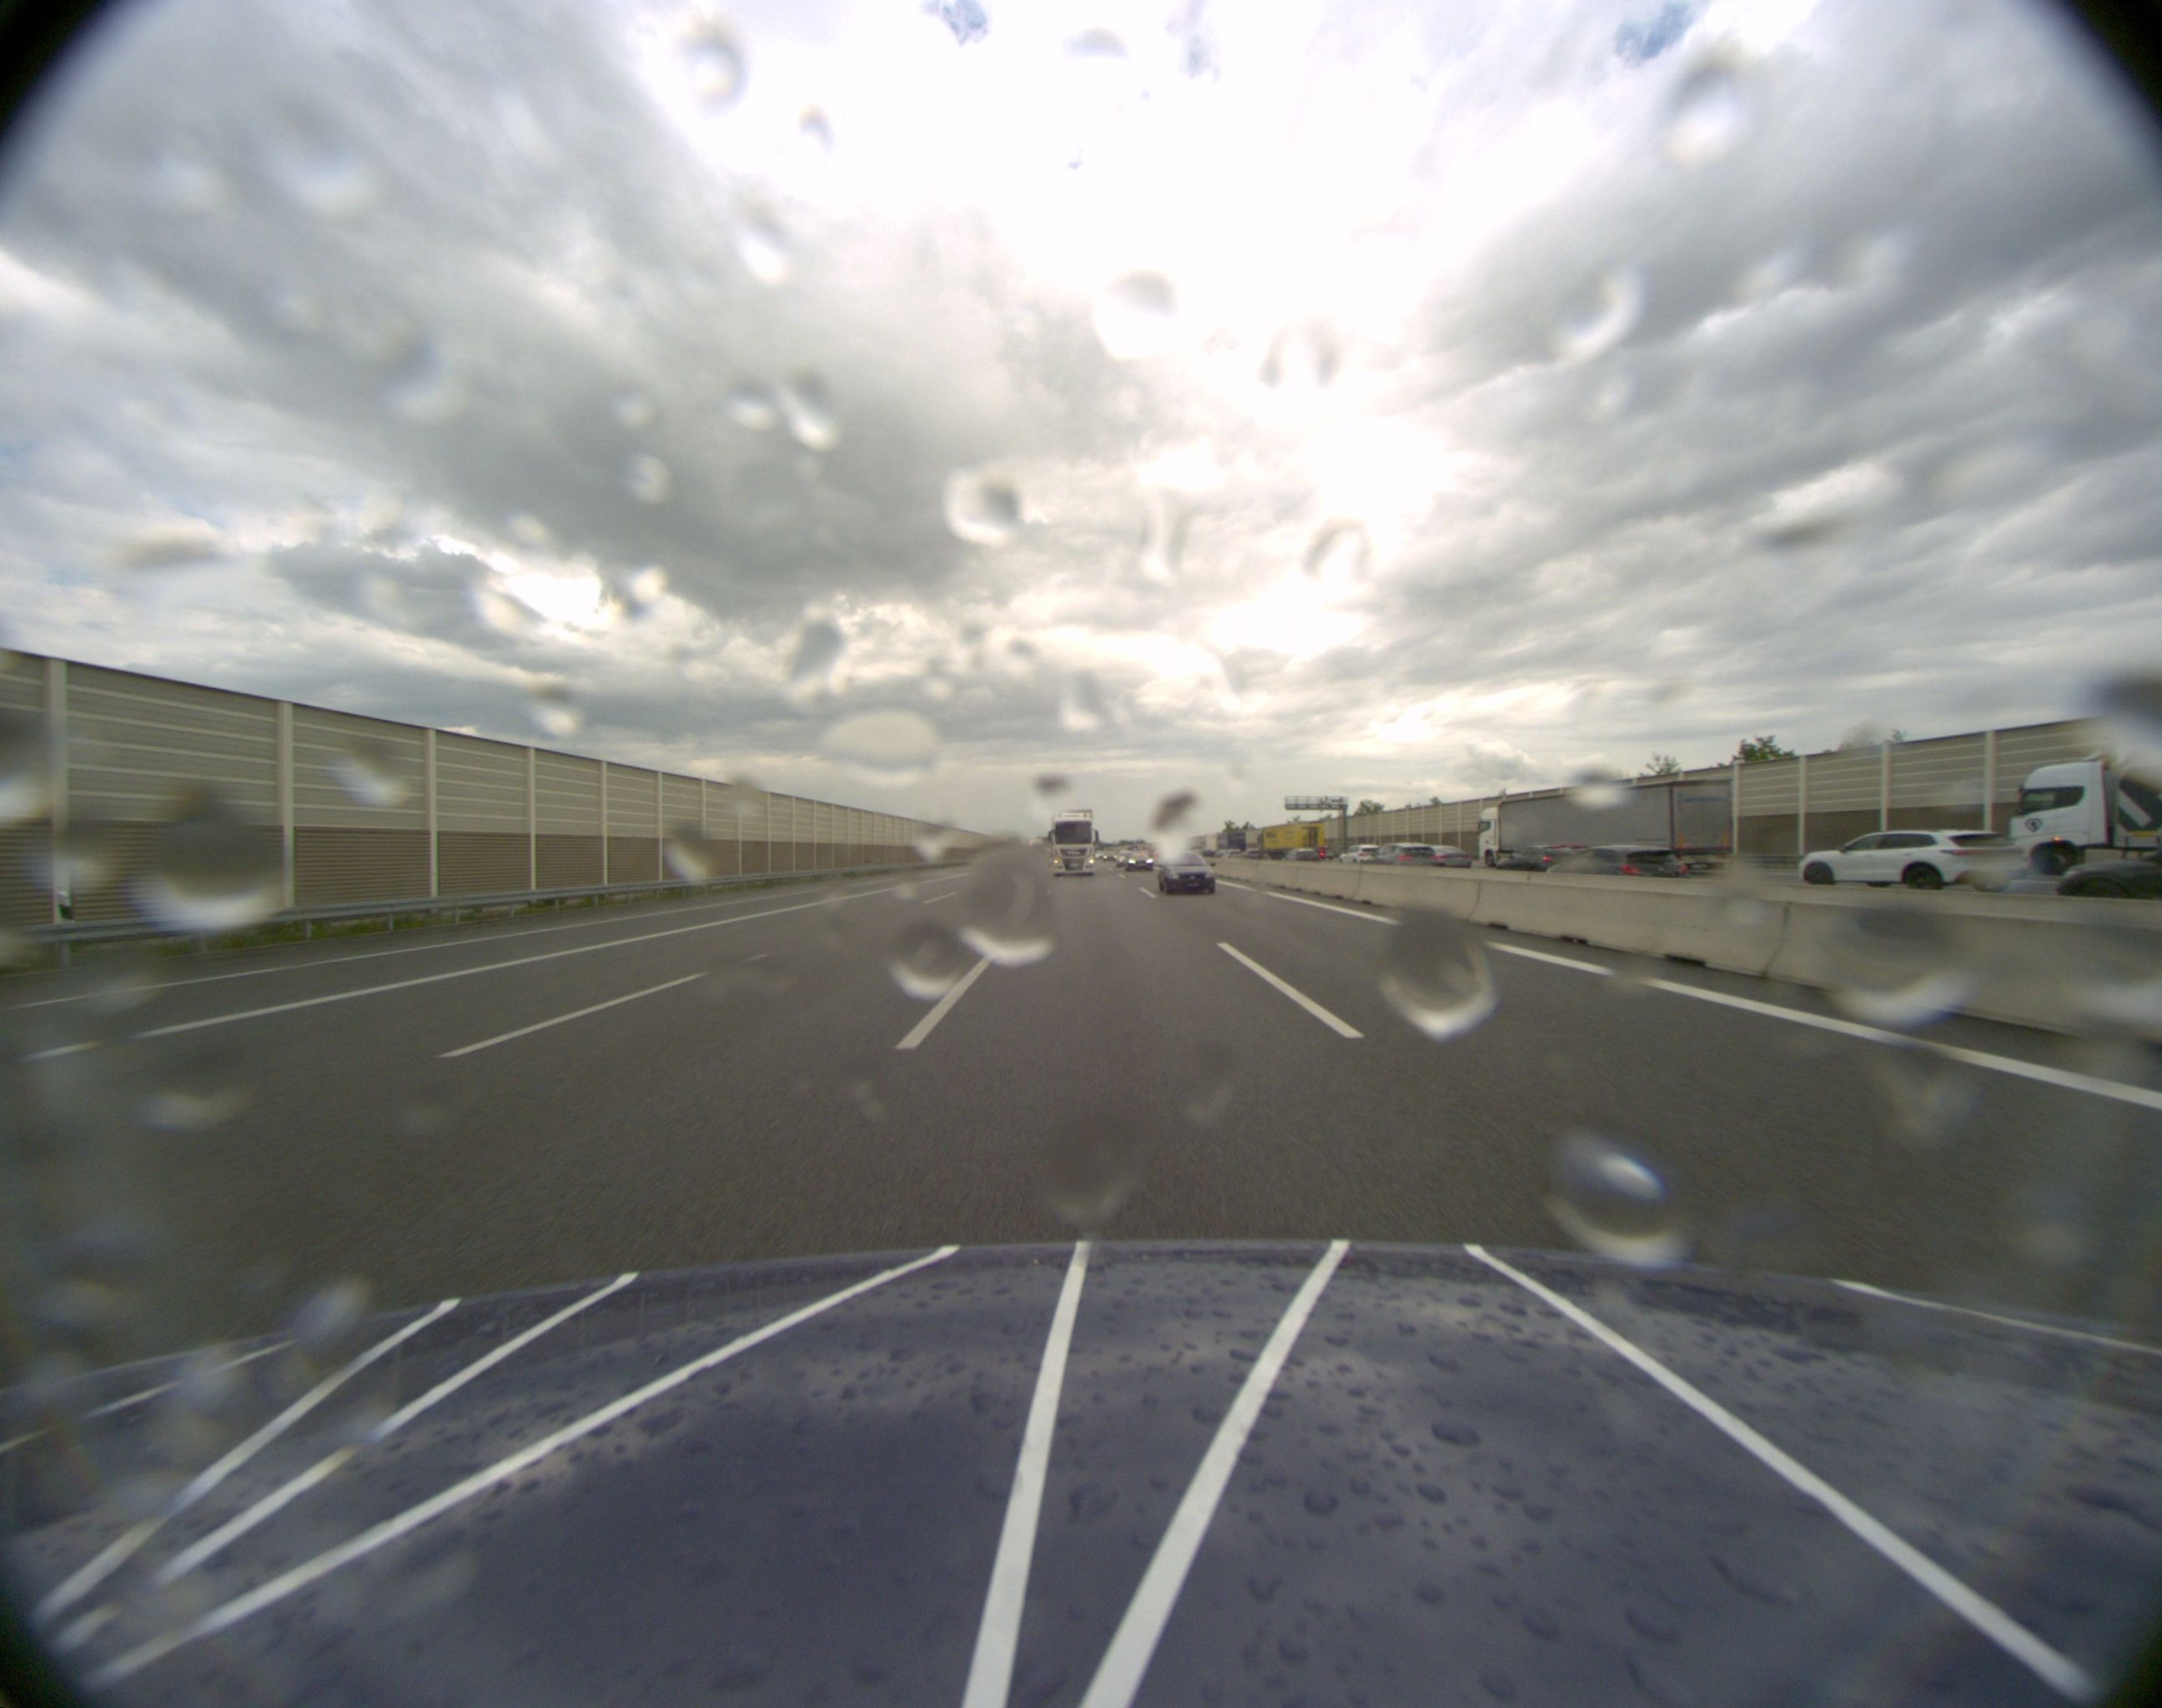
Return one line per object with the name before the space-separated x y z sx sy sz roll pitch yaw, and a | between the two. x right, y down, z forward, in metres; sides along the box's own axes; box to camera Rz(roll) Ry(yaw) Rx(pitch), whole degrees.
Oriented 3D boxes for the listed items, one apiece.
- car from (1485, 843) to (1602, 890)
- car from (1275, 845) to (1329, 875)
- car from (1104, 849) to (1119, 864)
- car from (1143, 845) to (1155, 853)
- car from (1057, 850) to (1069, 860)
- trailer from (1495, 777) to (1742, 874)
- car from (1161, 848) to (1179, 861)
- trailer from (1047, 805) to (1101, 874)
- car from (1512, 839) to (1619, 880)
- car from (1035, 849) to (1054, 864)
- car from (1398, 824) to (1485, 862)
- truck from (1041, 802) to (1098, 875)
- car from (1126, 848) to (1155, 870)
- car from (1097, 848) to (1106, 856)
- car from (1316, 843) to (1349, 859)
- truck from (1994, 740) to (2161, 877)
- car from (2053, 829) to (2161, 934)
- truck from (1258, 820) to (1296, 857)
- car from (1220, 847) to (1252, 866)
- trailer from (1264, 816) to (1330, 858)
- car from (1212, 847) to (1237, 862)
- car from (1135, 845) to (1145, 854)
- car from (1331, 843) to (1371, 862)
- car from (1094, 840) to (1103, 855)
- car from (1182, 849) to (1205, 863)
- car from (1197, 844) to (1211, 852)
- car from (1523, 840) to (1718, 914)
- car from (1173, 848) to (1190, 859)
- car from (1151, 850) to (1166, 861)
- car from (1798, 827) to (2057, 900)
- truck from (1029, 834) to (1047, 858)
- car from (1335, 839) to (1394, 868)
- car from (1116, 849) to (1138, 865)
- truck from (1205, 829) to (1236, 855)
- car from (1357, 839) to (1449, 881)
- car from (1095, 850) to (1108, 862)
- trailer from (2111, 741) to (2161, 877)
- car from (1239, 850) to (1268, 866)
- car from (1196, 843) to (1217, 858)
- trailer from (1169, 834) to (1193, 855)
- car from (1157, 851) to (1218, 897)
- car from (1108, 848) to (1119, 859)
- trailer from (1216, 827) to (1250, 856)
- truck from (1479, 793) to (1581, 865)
car | 18.412 0.454 30.509 1.960 1.690 4.410 -1 0 -1
car | 14.549 0.377 50.236 2.066 1.805 4.777 -1 0 -1
car | 3.180 0.241 79.990 1.498 1.395 4.000 -1 1 1
car | 13.749 -1.081 153.868 2.066 1.555 5.807 -1 0 0
car | -2.593 0.114 107.689 1.498 1.395 4.000 -1 1 1
trailer | 26.543 -1.267 39.185 2.768 4.008 14.451 -1 1 1
car | 14.521 0.099 124.068 2.066 1.991 5.806 -1 0 -1
trailer | -0.261 -0.984 54.417 2.925 4.188 13.197 -2 1 3
car | 21.869 0.238 34.545 1.960 1.690 4.410 -1 0 -1
car | -3.727 0.248 78.182 1.698 1.395 3.999 -1 1 0
car | 18.657 -0.550 39.638 2.066 1.805 5.113 -1 0 -1
truck | -0.622 -0.902 47.076 2.912 4.146 5.193 -2 1 3
car | 4.251 0.360 54.552 1.776 1.451 4.480 -1 1 1
car | 3.734 -0.325 136.225 1.498 1.395 4.000 -1 1 1
car | 27.639 -0.322 83.551 2.066 1.690 4.410 -1 0 -1
truck | 33.235 -1.377 23.605 2.924 4.011 5.725 -1 1 1
car | 18.415 0.433 11.414 1.960 1.690 4.410 -1 0 -1
truck | 22.526 -1.747 87.502 2.752 4.011 5.725 -1 1 0
car | 14.671 0.252 72.206 2.066 1.690 4.410 -1 0 -1
trailer | 22.568 -1.693 80.356 2.768 4.008 14.450 -1 1 0
car | 18.463 0.029 97.993 2.066 1.881 5.806 -1 0 -1
car | 16.919 -1.248 218.615 2.031 2.459 5.147 -1 0 -3
car | 25.117 -0.111 70.755 2.066 1.690 4.410 -1 0 -1
car | 3.756 -1.407 160.766 1.644 3.041 4.589 -1 1 4
car | 14.449 0.219 97.990 2.066 1.745 5.806 -1 0 -1
car | 25.594 -1.317 158.461 2.066 1.591 5.807 -1 0 0
car | 13.940 0.539 20.034 1.960 1.690 4.410 -1 0 -1
car | 17.893 -0.076 135.491 2.066 1.991 5.807 -1 0 0
car | 14.276 0.198 139.966 2.066 1.991 5.806 -1 0 -2
car | 22.214 0.207 20.266 1.960 1.690 4.410 -1 0 -1
truck | -7.493 -1.395 133.874 2.599 4.088 11.369 -1 1 -1
car | 18.830 -0.064 50.706 2.066 1.805 4.777 -1 0 -1
car | 4.122 0.237 68.346 1.732 1.395 4.000 -1 1 1
truck | 22.278 -1.816 122.087 2.945 3.922 11.066 -1 0 1
car | 14.243 0.226 33.997 1.960 1.690 4.892 -1 0 -1
car | 2.604 0.263 96.393 1.498 1.395 4.000 -1 1 1
trailer | 33.128 -1.292 16.481 2.943 4.008 13.859 -1 1 1
car | 18.870 0.420 83.425 2.066 1.690 4.410 -1 0 -1
car | 18.505 -0.524 112.067 2.066 1.991 5.806 -1 0 -1
trailer | 21.304 -1.945 162.376 3.066 4.136 14.314 -1 0 0
car | 3.569 0.625 26.044 1.578 1.395 4.000 -1 1 1
car | 4.564 -0.106 107.621 1.498 1.395 4.000 -1 1 1
trailer | 22.216 -1.772 111.452 2.938 3.917 10.118 -1 0 1
truck | 26.673 -1.427 45.503 2.751 4.011 5.725 -1 1 1
